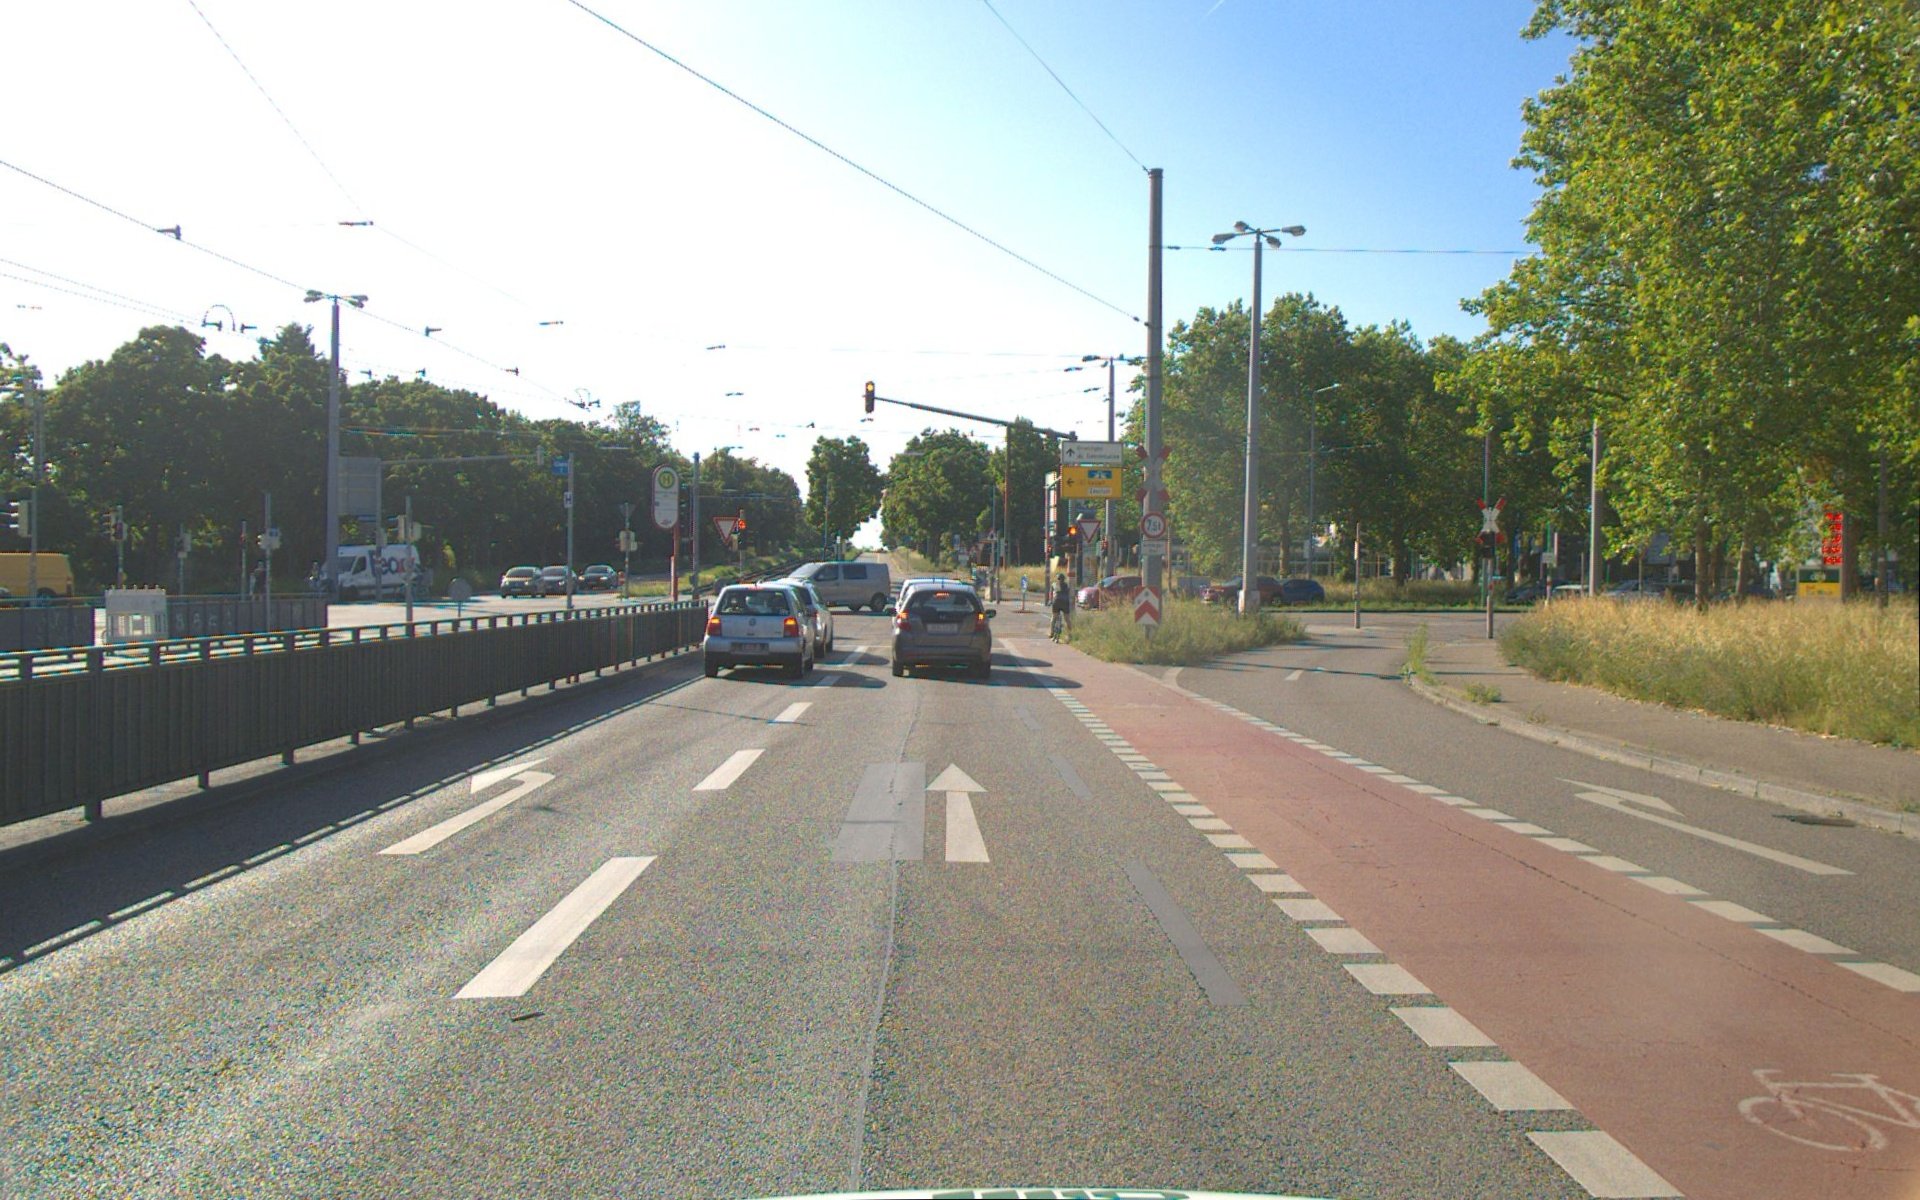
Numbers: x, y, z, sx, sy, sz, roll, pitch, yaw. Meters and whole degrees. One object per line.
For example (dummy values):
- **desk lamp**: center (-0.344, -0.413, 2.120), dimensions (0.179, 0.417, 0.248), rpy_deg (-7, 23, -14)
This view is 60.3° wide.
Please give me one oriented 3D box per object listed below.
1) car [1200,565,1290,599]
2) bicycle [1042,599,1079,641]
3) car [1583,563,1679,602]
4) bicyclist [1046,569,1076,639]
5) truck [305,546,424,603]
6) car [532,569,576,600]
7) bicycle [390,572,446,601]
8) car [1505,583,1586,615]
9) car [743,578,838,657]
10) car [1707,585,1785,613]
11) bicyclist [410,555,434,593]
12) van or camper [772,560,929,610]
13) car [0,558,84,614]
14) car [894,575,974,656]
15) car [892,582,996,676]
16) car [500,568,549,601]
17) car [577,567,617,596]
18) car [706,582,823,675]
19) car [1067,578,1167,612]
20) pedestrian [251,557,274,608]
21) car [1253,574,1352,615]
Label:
- **car**: center (13.314, -0.833, 77.159), dimensions (3.934, 1.557, 1.594), rpy_deg (0, 1, -24)
- **bicycle**: center (2.563, 0.504, 42.419), dimensions (0.707, 1.006, 2.875), rpy_deg (2, 0, -1)
- **car**: center (36.223, -0.952, 89.281), dimensions (4.822, 2.049, 1.986), rpy_deg (0, 1, -24)
- **bicyclist**: center (2.578, 0.092, 42.337), dimensions (0.652, 1.746, 0.948), rpy_deg (2, 0, -1)
- **truck**: center (-28.251, -1.213, 78.720), dimensions (1.951, 2.610, 6.829), rpy_deg (1, 1, 13)
- **car**: center (-21.589, -0.831, 88.070), dimensions (1.797, 1.575, 4.278), rpy_deg (0, 1, -7)
- **bicycle**: center (-24.270, -0.617, 74.071), dimensions (2.360, 1.285, 0.813), rpy_deg (0, 1, -19)
- **car**: center (32.242, -0.055, 91.109), dimensions (3.930, 1.606, 1.868), rpy_deg (2, 0, -22)
- **car**: center (-3.413, 0.323, 33.899), dimensions (1.586, 1.482, 4.084), rpy_deg (1, 0, -1)
- **car**: center (46.538, -0.080, 97.957), dimensions (4.449, 1.601, 1.681), rpy_deg (0, 1, -23)
- **bicyclist**: center (-24.104, -1.149, 74.111), dimensions (0.991, 1.676, 0.813), rpy_deg (0, 1, -19)
- **van or camper**: center (-4.208, -0.579, 64.032), dimensions (5.912, 1.860, 1.978), rpy_deg (0, 1, -33)
- **car**: center (-33.962, -0.540, 58.607), dimensions (5.096, 1.912, 1.982), rpy_deg (2, 0, -28)
- **car**: center (-0.561, 0.289, 35.137), dimensions (1.578, 1.589, 4.287), rpy_deg (1, 1, -1)
- **car**: center (-0.327, 0.454, 28.505), dimensions (1.635, 1.487, 3.584), rpy_deg (1, 1, -3)
- **car**: center (-21.293, -0.755, 81.016), dimensions (1.797, 1.575, 3.994), rpy_deg (0, 1, -7)
- **car**: center (-21.787, -1.148, 99.381), dimensions (1.956, 1.632, 4.747), rpy_deg (1, 1, -8)
- **car**: center (-3.167, 0.427, 27.251), dimensions (1.586, 1.442, 3.350), rpy_deg (0, 0, -1)
- **car**: center (6.714, -0.230, 70.712), dimensions (3.942, 1.427, 1.601), rpy_deg (0, 1, -19)
- **pedestrian**: center (-28.098, -0.708, 66.627), dimensions (0.735, 2.049, 0.789), rpy_deg (0, 1, -13)
- **car**: center (17.482, -0.293, 84.348), dimensions (4.625, 1.912, 1.986), rpy_deg (2, 0, -24)
